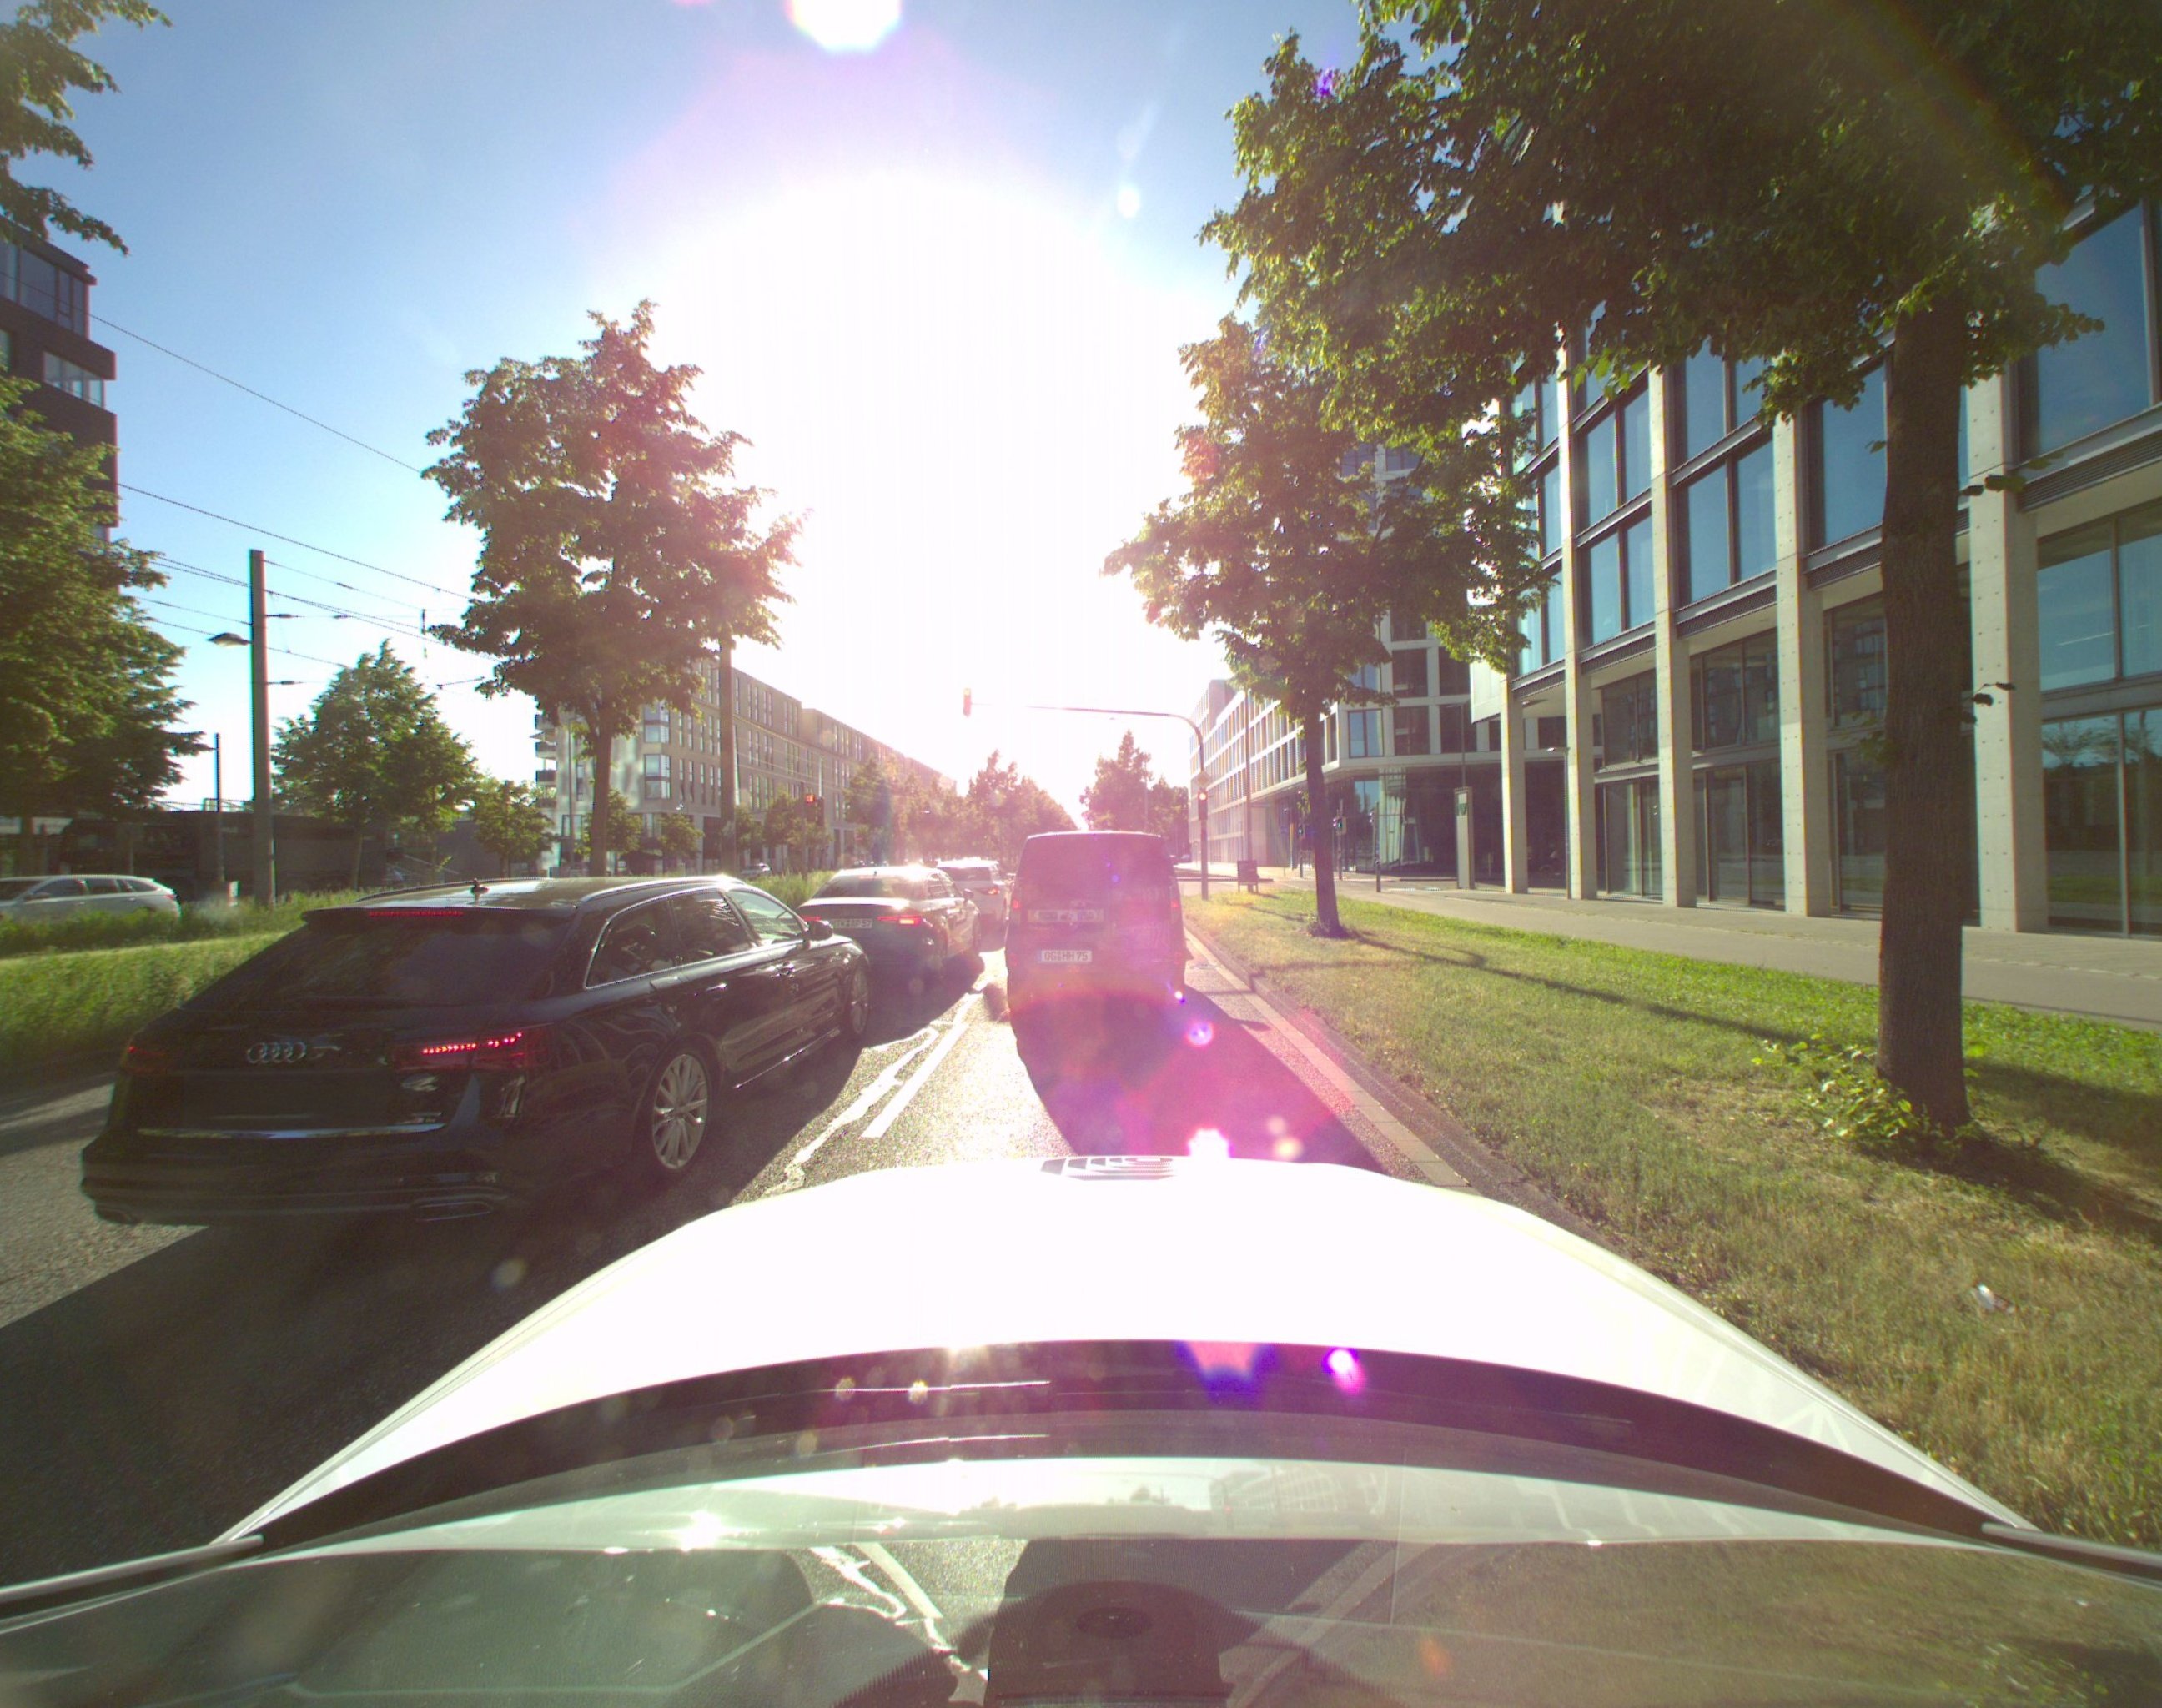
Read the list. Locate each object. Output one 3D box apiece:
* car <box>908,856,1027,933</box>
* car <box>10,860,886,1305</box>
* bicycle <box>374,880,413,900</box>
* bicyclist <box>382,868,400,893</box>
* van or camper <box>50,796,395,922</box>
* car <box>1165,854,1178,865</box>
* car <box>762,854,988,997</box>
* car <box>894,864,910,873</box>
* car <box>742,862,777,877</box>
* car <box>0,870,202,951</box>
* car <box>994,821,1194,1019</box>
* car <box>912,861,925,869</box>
[{"bbox_3d":[-2.310,0.780,17.693,1.801,1.434,4.115,-1,0,2],"label":"car"},{"bbox_3d":[-2.729,0.807,5.060,1.801,1.457,4.509,-1,0,2],"label":"car"},{"bbox_3d":[-38.431,1.993,45.547,0.525,1.034,1.848,0,-1,2],"label":"bicycle"},{"bbox_3d":[-38.450,1.467,45.384,0.490,1.406,0.626,0,-1,1],"label":"bicyclist"},{"bbox_3d":[-33.389,0.185,32.688,2.743,4.192,10.234,-1,0,2],"label":"van or camper"},{"bbox_3d":[14.211,0.805,127.741,1.750,1.611,3.906,-1,0,3],"label":"car"},{"bbox_3d":[-2.498,0.786,10.986,1.801,1.527,4.115,-1,0,2],"label":"car"},{"bbox_3d":[-29.642,2.409,134.932,1.769,1.528,3.807,-1,0,1],"label":"car"},{"bbox_3d":[-31.623,1.508,80.310,1.574,1.342,4.473,-1,0,1],"label":"car"},{"bbox_3d":[-22.428,1.178,17.579,1.849,1.537,4.731,-1,0,-3],"label":"car"},{"bbox_3d":[0.213,0.607,9.552,1.801,1.794,4.115,-1,0,2],"label":"car"},{"bbox_3d":[-29.876,2.034,150.197,1.574,1.342,3.713,-1,0,1],"label":"car"}]
